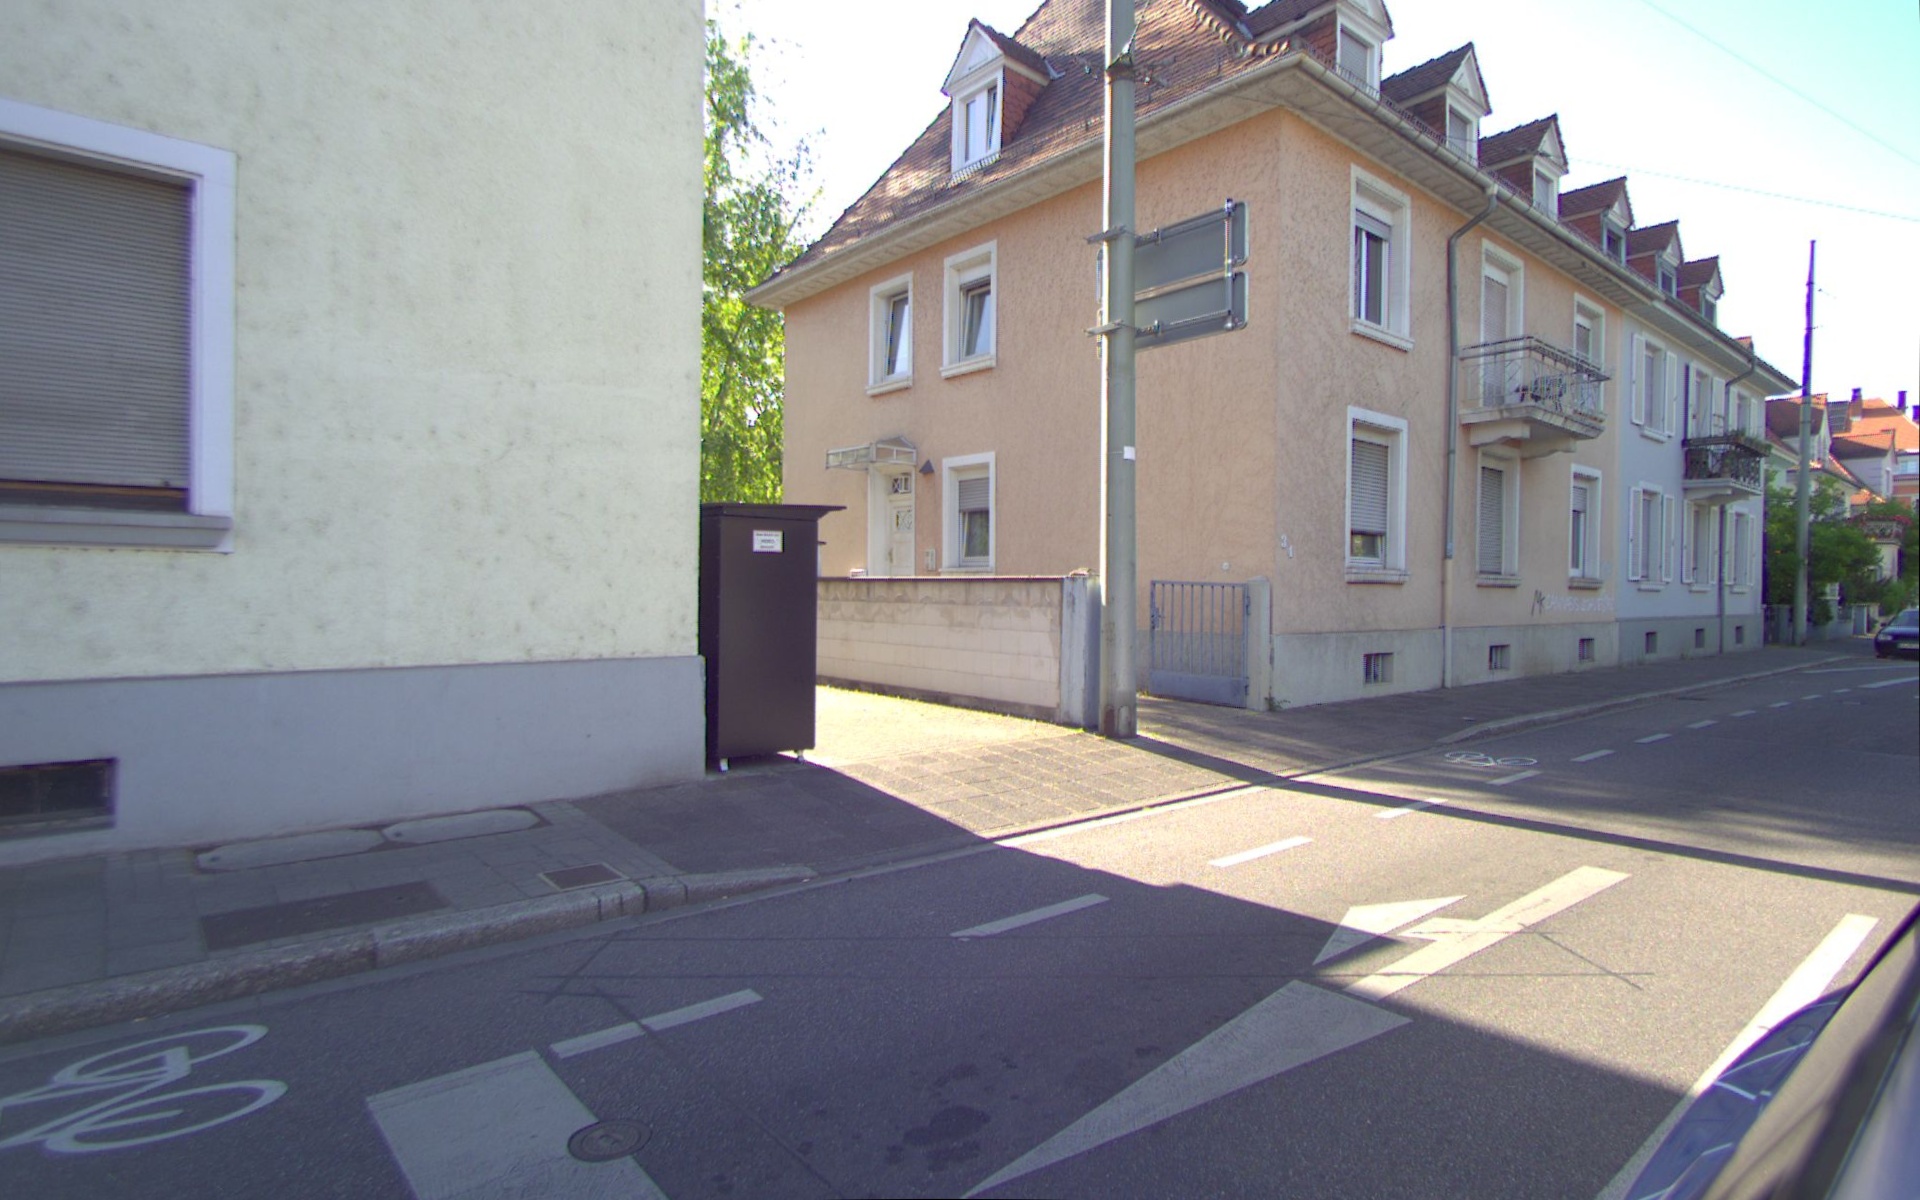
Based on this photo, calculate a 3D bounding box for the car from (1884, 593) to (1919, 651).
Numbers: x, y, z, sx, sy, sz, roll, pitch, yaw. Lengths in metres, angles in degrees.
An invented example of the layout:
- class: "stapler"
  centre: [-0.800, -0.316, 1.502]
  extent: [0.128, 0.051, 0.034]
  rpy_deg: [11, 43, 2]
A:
- class: "car"
  centre: [26.811, 0.580, 27.441]
  extent: [3.925, 1.504, 1.883]
  rpy_deg: [0, 1, -37]
